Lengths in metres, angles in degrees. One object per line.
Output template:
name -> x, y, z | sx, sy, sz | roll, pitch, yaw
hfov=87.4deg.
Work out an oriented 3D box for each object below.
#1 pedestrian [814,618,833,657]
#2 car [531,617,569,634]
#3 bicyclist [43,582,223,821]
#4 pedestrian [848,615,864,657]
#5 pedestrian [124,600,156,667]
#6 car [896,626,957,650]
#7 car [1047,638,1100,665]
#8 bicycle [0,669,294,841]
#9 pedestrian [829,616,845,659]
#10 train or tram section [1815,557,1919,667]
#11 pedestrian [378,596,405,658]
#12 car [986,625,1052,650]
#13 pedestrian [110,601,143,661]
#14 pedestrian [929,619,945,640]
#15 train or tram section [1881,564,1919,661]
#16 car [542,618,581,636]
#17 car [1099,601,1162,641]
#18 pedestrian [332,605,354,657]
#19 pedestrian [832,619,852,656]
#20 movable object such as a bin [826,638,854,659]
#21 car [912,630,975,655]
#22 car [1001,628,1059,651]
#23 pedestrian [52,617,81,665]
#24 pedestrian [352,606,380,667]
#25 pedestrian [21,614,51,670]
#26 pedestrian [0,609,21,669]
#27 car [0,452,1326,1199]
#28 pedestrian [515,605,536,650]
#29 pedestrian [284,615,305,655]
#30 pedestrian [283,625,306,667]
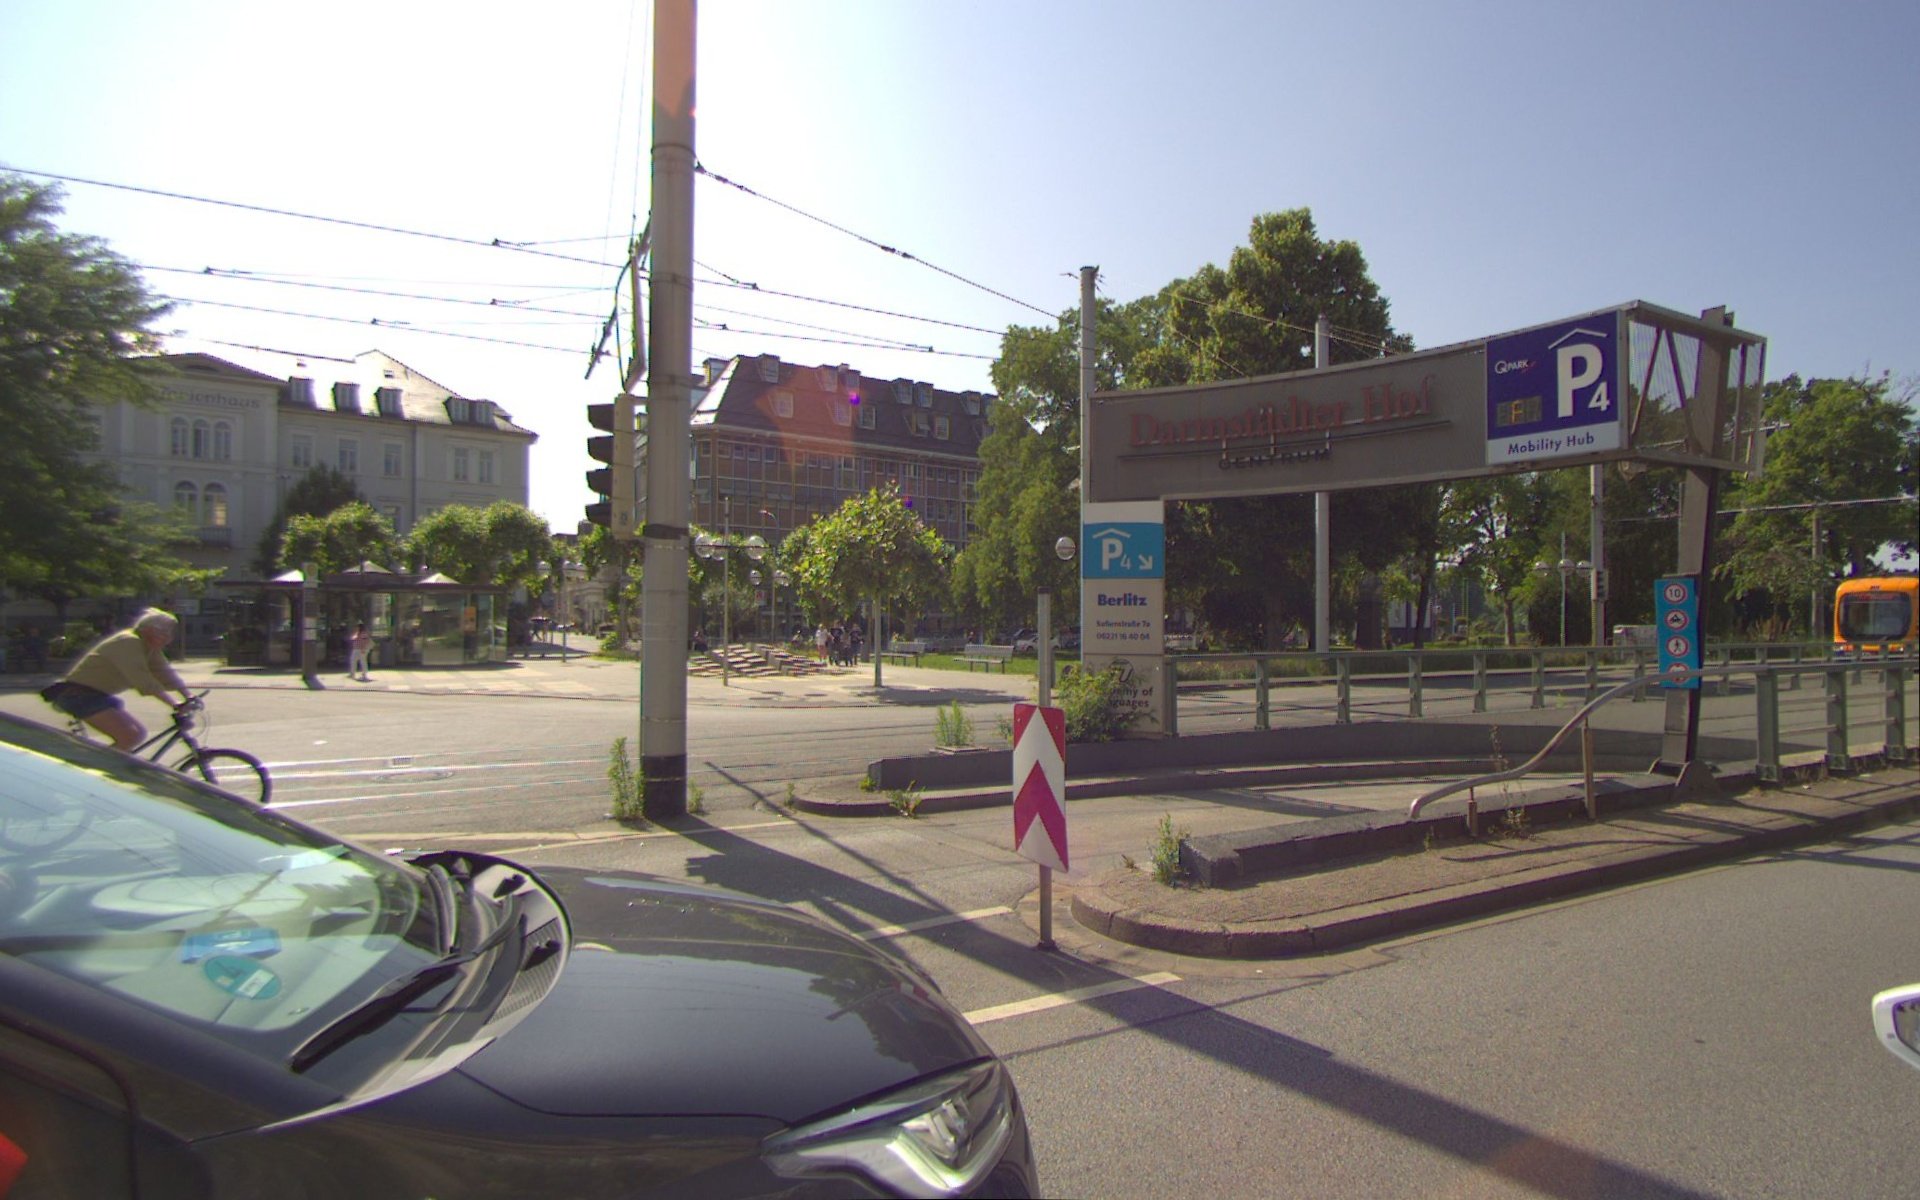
pedestrian -> -5.747, 1.573, 42.327 | 0.615, 1.630, 0.488 | 1, -3, -40
car -> -48.881, 3.023, 119.869 | 3.953, 1.940, 1.984 | 1, 1, -31
bicyclist -> -6.147, 0.729, 7.533 | 0.892, 1.643, 0.814 | 0, -4, -30
pedestrian -> -4.115, 1.437, 39.694 | 0.490, 1.630, 0.410 | 1, -3, -39
pedestrian -> -25.248, 1.032, 30.920 | 0.537, 2.034, 0.629 | -3, -3, 38
car -> -2.350, 2.615, 70.074 | 3.962, 1.528, 1.743 | 1, 1, -36
car -> 8.920, 4.027, 78.962 | 3.601, 2.040, 1.983 | 1, 1, -31
bicycle -> -6.138, 1.102, 7.507 | 1.852, 1.135, 0.814 | 1, -4, -30
pedestrian -> -4.781, 1.458, 39.007 | 0.460, 1.630, 0.449 | 0, -3, -30
train or tram section -> 33.488, 0.426, 35.884 | 6.033, 3.629, 2.600 | 1, 1, -31
pedestrian -> -18.976, 0.918, 33.541 | 0.726, 2.034, 0.627 | 0, -3, -25
car -> 4.392, 2.745, 74.388 | 4.797, 1.685, 1.743 | 1, 1, -36
pedestrian -> -25.052, 0.944, 30.195 | 0.537, 1.771, 0.629 | -3, -3, 38
pedestrian -> -1.472, 1.849, 63.290 | 0.655, 1.279, 0.744 | 1, -3, -42
train or tram section -> 38.654, 0.550, 38.973 | 6.033, 3.629, 2.600 | 1, 1, -31
car -> -45.886, 3.147, 115.588 | 3.953, 1.940, 1.984 | 1, 1, -31
car -> 15.121, 1.873, 89.013 | 5.358, 3.360, 2.116 | 1, 1, -31
pedestrian -> -21.366, 1.076, 34.783 | 0.612, 1.751, 0.737 | 1, -3, -31
pedestrian -> -4.868, 1.552, 41.475 | 0.655, 1.512, 0.521 | 1, -3, -38
movable object such as a bin -> -4.538, 1.851, 37.995 | 0.790, 0.764, 0.903 | 0, -3, -30
car -> -1.104, 2.820, 67.579 | 3.962, 1.528, 1.743 | 1, 1, -36
car -> 5.012, 2.811, 72.101 | 3.962, 1.528, 1.743 | 1, 1, -36
pedestrian -> -26.664, 1.217, 29.994 | 0.614, 1.403, 0.734 | 1, -3, -42
pedestrian -> -17.111, 1.060, 28.926 | 0.671, 1.728, 0.700 | 1, -3, -31
pedestrian -> -27.156, 1.231, 29.534 | 0.614, 1.619, 0.734 | 1, -3, -42
pedestrian -> -28.086, 1.141, 29.465 | 0.612, 1.751, 0.737 | 1, -3, -31
car -> -1.674, 0.658, 1.149 | 3.950, 1.494, 1.770 | 1, -2, -28
pedestrian -> -20.031, 1.262, 46.294 | 0.822, 2.034, 0.598 | 1, -3, -33
pedestrian -> -23.336, 1.221, 35.223 | 0.591, 1.377, 0.565 | 1, -3, -31
pedestrian -> -22.354, 1.540, 33.761 | 0.591, 1.409, 0.565 | 1, -3, -31
